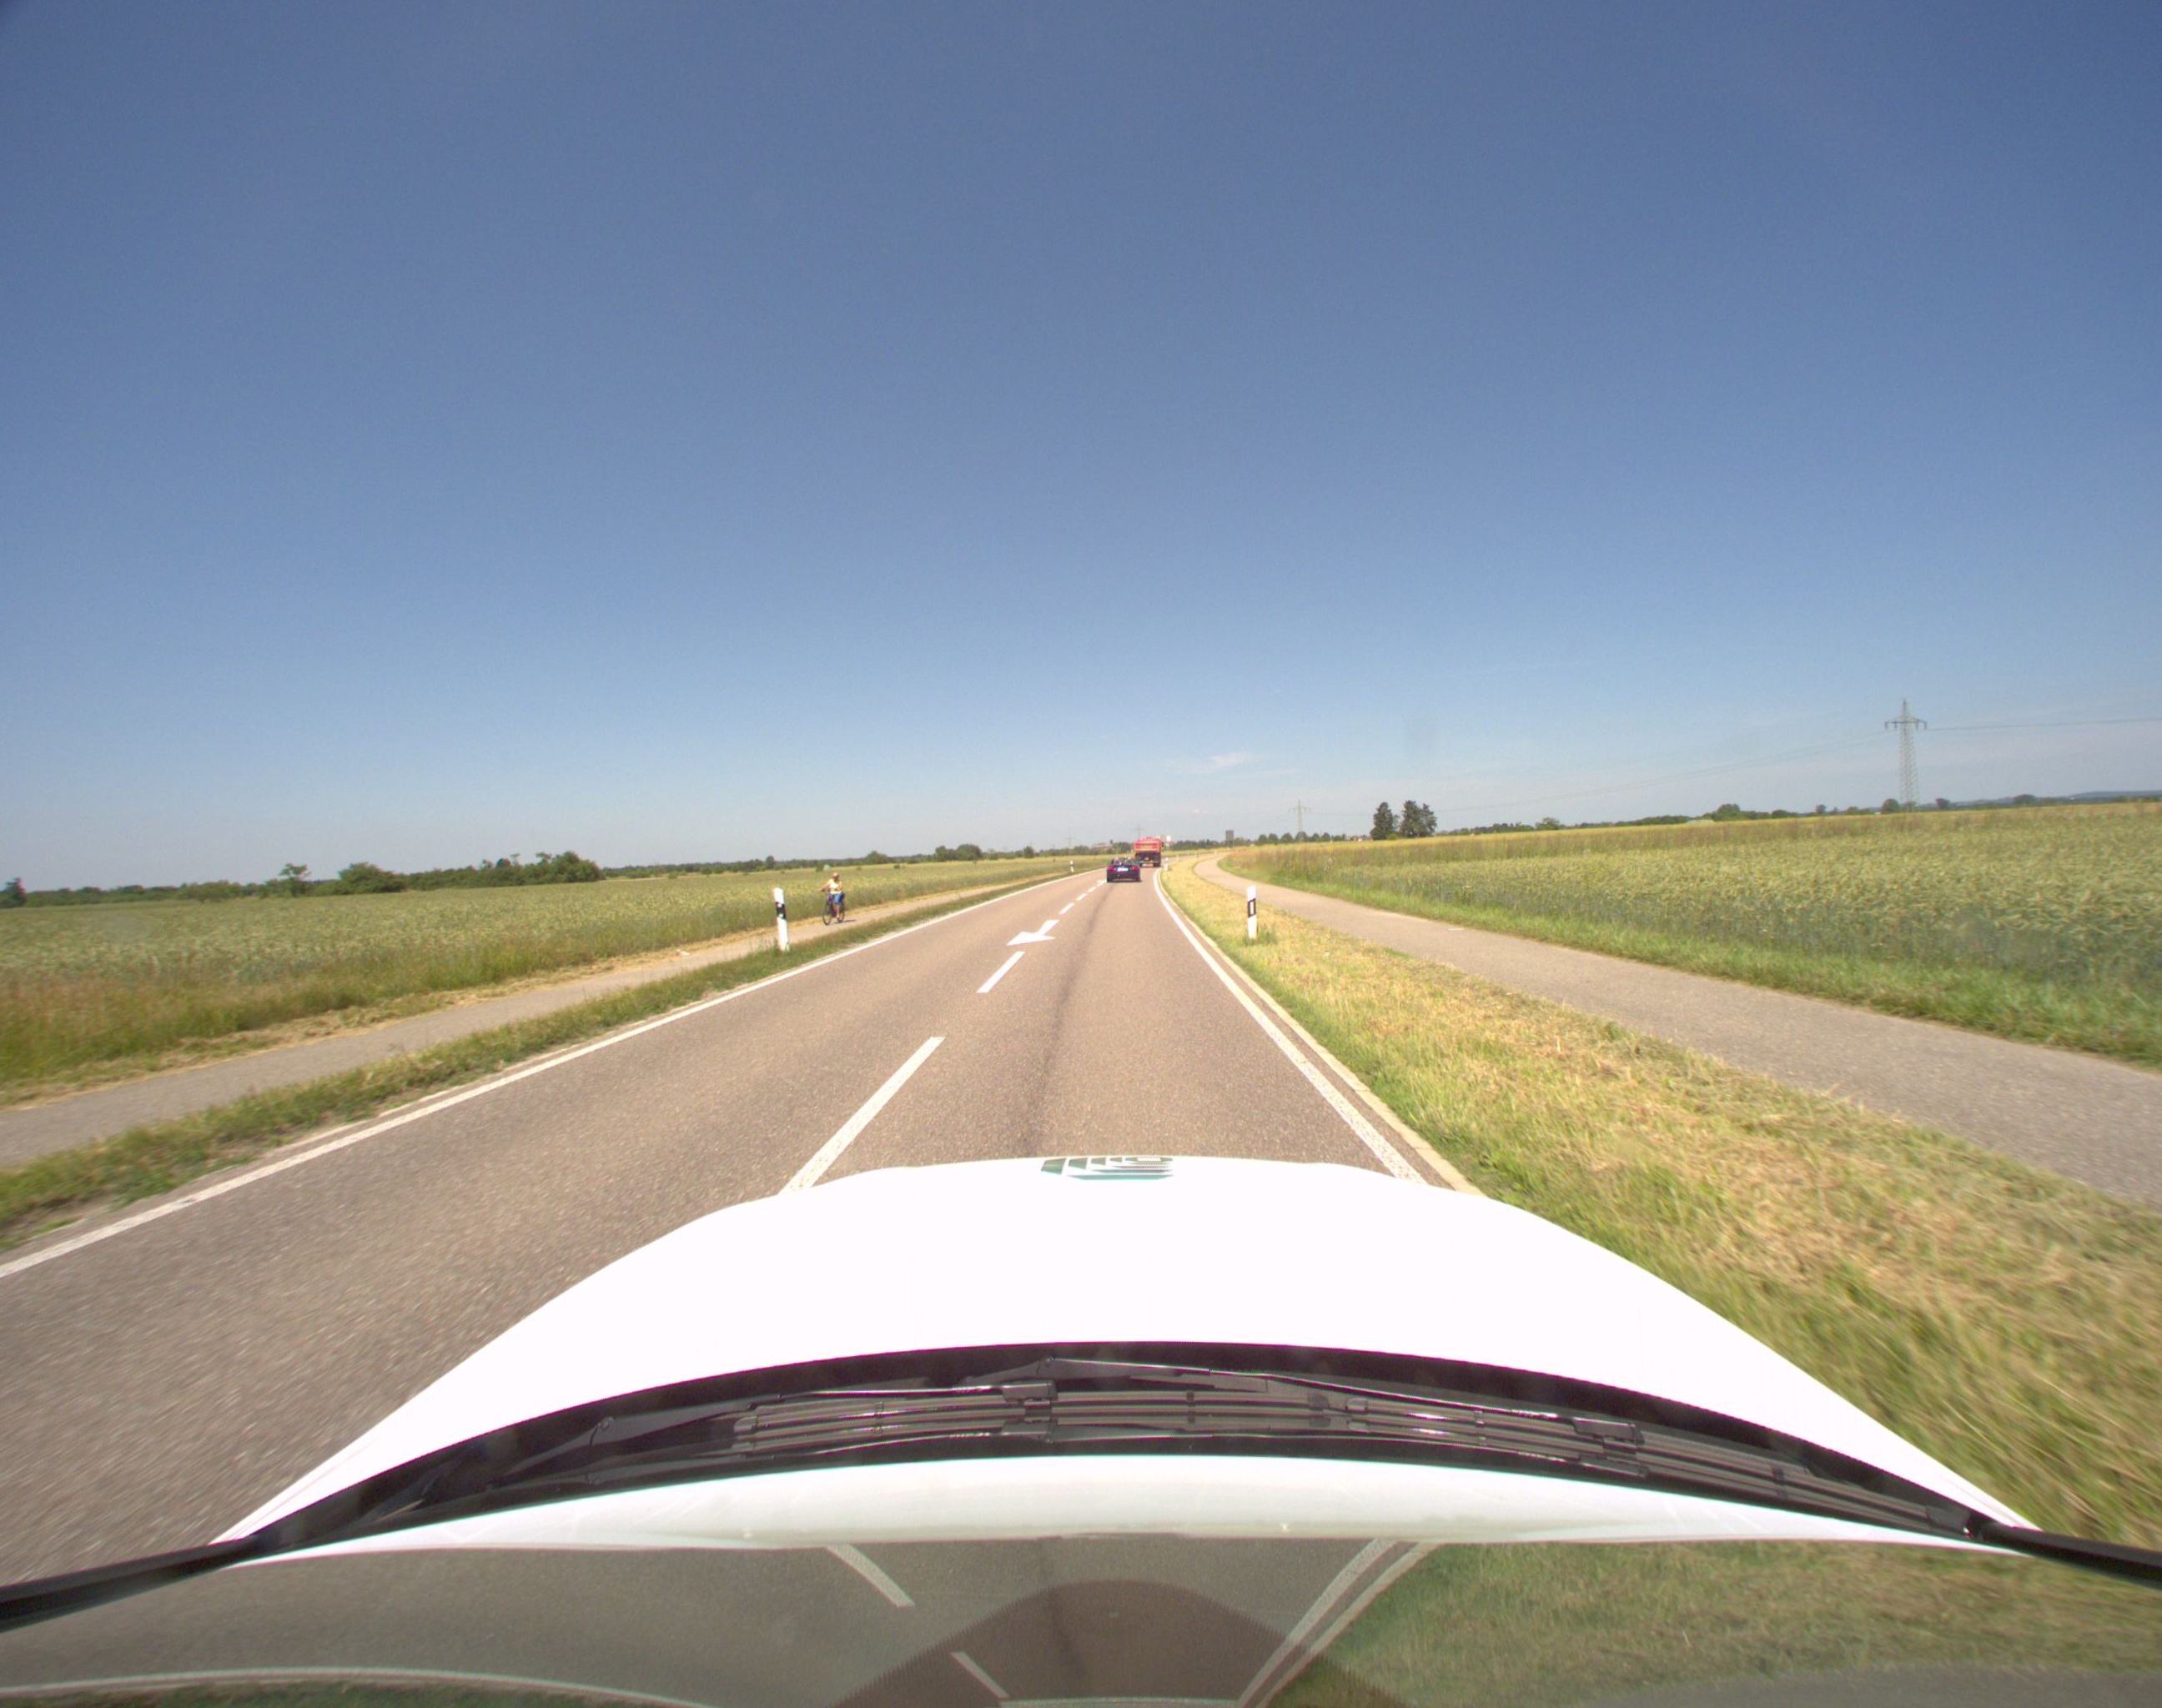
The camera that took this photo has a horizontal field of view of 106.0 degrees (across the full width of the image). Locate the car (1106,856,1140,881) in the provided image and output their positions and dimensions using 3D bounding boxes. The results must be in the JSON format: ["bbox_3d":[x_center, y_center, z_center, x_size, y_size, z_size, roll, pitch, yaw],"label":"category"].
[{"bbox_3d":[2.289,0.745,43.775,1.736,1.280,4.004,-1,0,4],"label":"car"}]

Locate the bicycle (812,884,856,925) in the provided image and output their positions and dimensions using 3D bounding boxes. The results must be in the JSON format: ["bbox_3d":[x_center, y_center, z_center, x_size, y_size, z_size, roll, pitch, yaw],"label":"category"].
[{"bbox_3d":[-8.166,1.658,27.024,0.691,1.176,1.965,-3,0,3],"label":"bicycle"}]

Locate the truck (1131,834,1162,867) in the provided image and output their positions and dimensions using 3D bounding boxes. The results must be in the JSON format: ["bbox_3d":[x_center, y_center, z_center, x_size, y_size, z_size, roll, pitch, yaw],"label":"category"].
[{"bbox_3d":[6.749,-0.336,83.050,2.923,3.089,7.208,-2,-1,6],"label":"truck"}]

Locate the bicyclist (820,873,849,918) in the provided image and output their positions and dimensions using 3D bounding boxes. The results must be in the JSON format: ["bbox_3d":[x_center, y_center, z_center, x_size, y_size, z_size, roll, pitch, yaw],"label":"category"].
[{"bbox_3d":[-8.174,1.374,27.052,0.661,1.438,0.823,-1,-1,3],"label":"bicyclist"}]
